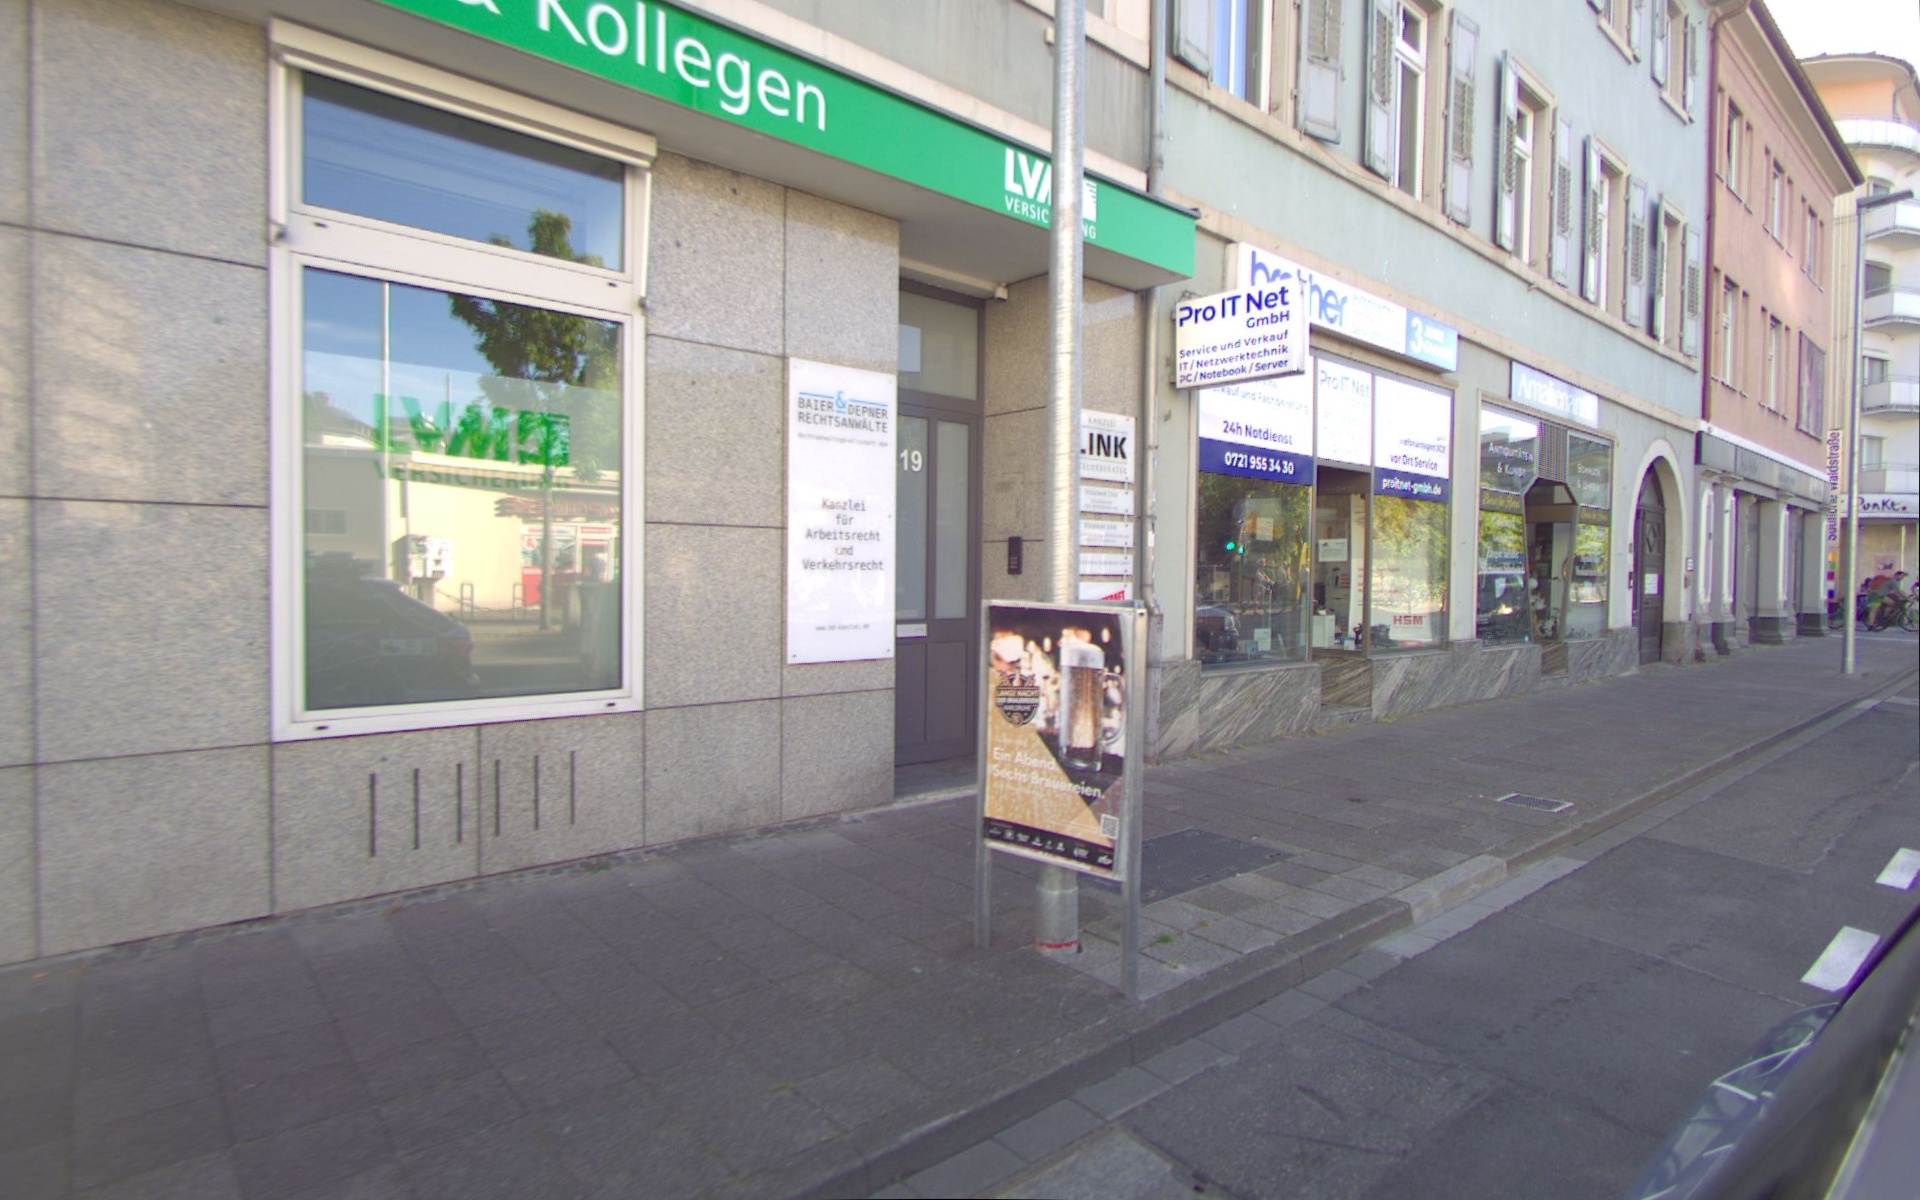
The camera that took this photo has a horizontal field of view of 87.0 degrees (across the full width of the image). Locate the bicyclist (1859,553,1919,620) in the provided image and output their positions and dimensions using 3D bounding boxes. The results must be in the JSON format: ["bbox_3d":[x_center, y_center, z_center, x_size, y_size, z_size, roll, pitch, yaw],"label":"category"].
[{"bbox_3d":[25.264,-0.382,27.436,1.131,1.783,0.746,1,1,28],"label":"bicyclist"}]

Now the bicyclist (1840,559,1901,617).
[{"bbox_3d":[25.704,-0.359,28.582,0.711,1.603,1.033,0,1,-18],"label":"bicyclist"}]

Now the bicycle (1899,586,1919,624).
[{"bbox_3d":[26.578,0.141,27.236,0.548,1.032,1.920,0,1,-13],"label":"bicycle"}]

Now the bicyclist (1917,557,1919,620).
[{"bbox_3d":[26.522,-0.307,27.063,0.711,1.706,1.134,0,1,-13],"label":"bicyclist"}]

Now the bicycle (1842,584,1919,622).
[{"bbox_3d":[25.190,0.076,27.457,1.805,1.006,0.559,1,1,28],"label":"bicycle"}]

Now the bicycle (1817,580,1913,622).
[{"bbox_3d":[25.644,0.010,28.723,0.718,1.110,1.924,0,1,-19],"label":"bicycle"}]

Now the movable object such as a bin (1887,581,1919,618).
[{"bbox_3d":[29.382,-0.032,31.409,0.610,1.126,0.809,-1,2,-42],"label":"movable object such as a bin"}]
